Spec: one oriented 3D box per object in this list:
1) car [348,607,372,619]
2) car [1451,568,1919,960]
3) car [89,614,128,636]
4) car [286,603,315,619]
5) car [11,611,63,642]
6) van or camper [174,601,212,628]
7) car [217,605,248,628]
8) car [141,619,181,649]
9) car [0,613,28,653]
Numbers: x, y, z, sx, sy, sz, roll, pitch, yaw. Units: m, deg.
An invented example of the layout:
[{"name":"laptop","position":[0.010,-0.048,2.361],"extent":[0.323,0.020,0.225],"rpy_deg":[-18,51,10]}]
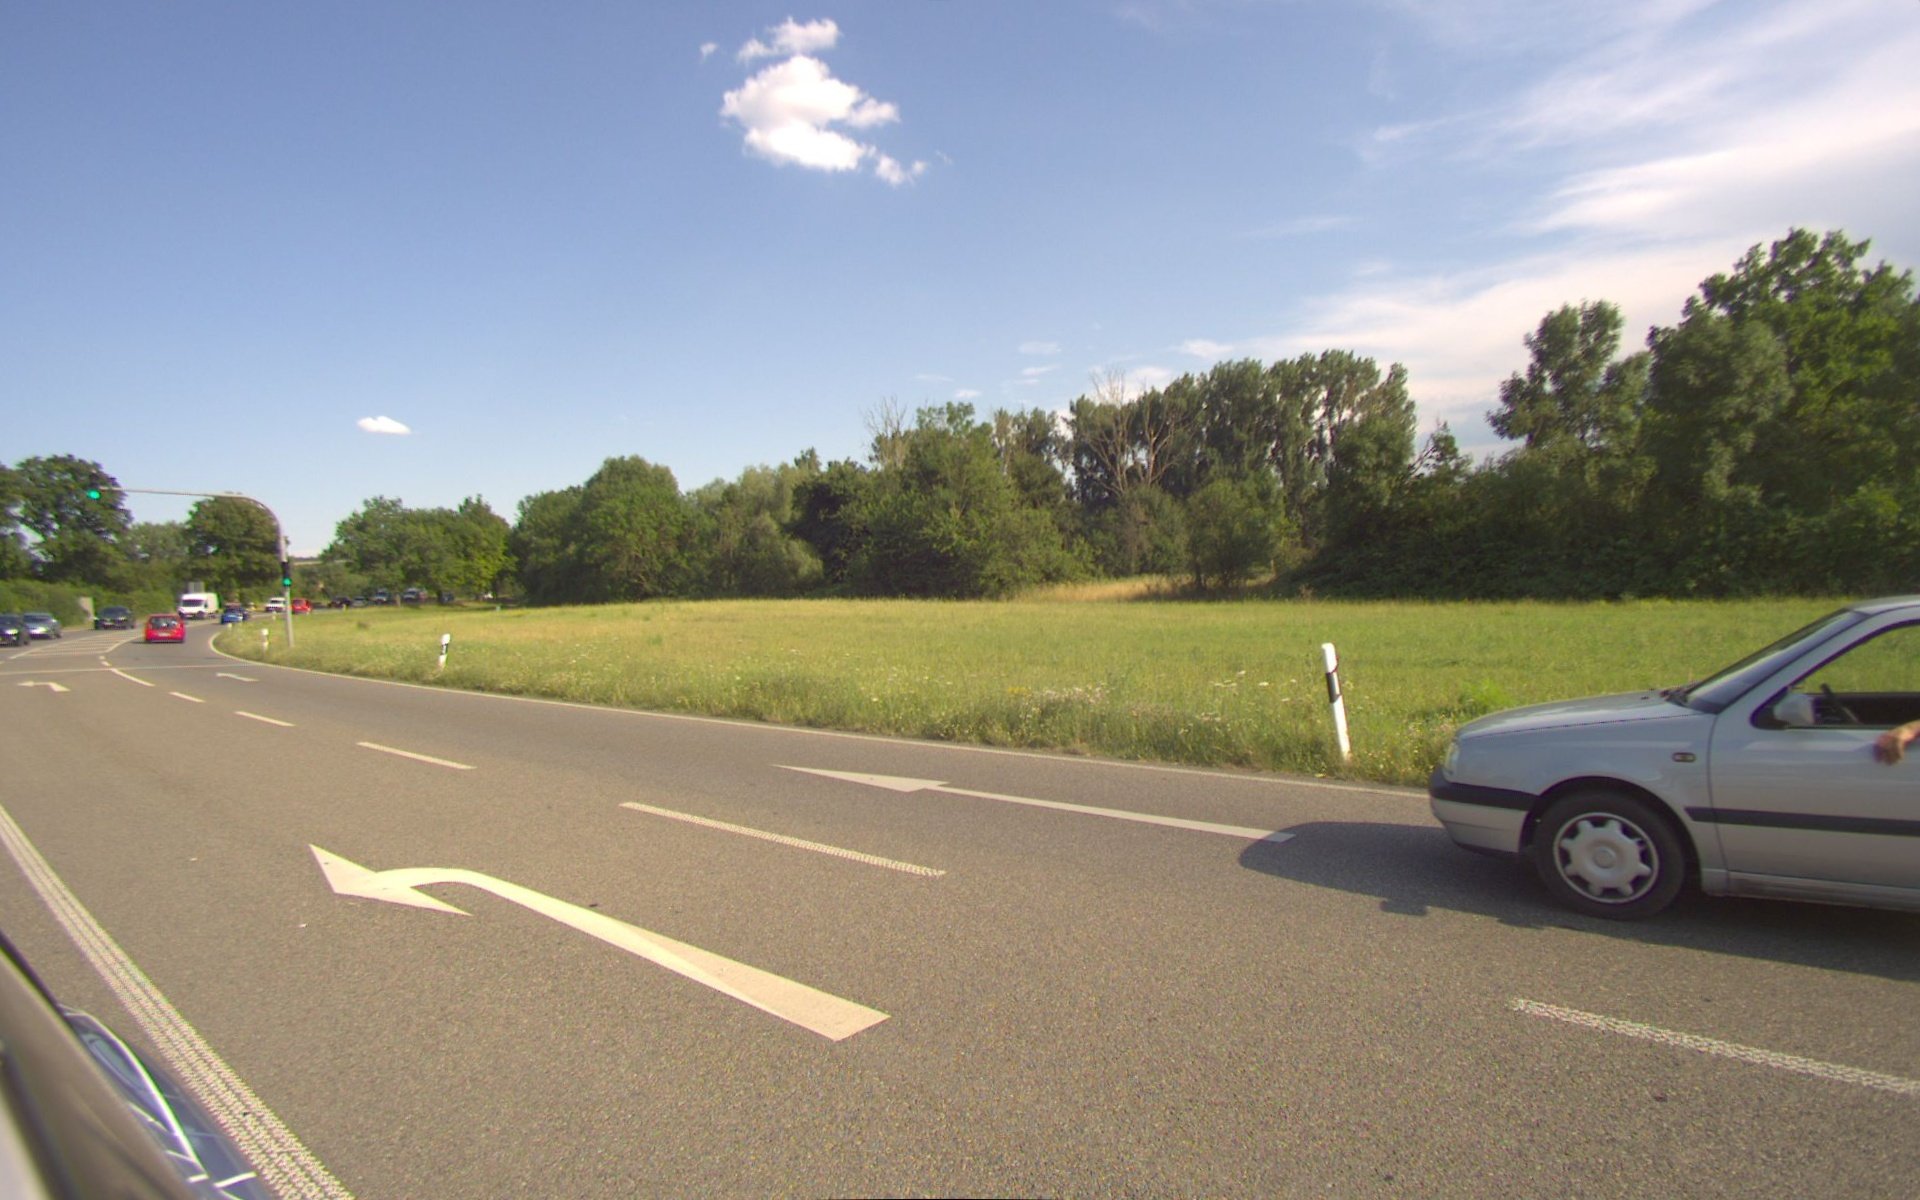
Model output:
[{"name":"car","position":[-88.242,1.918,148.911],"extent":[1.855,1.598,4.341],"rpy_deg":[0,-1,-13]},{"name":"car","position":[4.440,0.579,4.069],"extent":[4.172,1.439,1.691],"rpy_deg":[-2,0,38]},{"name":"car","position":[-60.899,1.776,72.420],"extent":[1.581,1.490,3.627],"rpy_deg":[1,-2,-31]},{"name":"car","position":[-78.078,1.347,119.839],"extent":[1.854,1.789,4.335],"rpy_deg":[0,-1,-19]},{"name":"car","position":[-50.602,1.434,55.516],"extent":[1.609,1.570,3.426],"rpy_deg":[1,0,-34]},{"name":"van or camper","position":[-74.945,1.346,98.927],"extent":[2.000,2.494,5.094],"rpy_deg":[-3,1,-27]},{"name":"car","position":[-61.487,1.440,85.544],"extent":[1.700,1.897,4.348],"rpy_deg":[0,-2,-30]},{"name":"car","position":[-40.948,1.737,51.824],"extent":[1.565,1.478,3.613],"rpy_deg":[1,-2,-39]},{"name":"car","position":[-44.596,1.495,46.863],"extent":[1.647,1.741,3.677],"rpy_deg":[2,-1,-36]}]
